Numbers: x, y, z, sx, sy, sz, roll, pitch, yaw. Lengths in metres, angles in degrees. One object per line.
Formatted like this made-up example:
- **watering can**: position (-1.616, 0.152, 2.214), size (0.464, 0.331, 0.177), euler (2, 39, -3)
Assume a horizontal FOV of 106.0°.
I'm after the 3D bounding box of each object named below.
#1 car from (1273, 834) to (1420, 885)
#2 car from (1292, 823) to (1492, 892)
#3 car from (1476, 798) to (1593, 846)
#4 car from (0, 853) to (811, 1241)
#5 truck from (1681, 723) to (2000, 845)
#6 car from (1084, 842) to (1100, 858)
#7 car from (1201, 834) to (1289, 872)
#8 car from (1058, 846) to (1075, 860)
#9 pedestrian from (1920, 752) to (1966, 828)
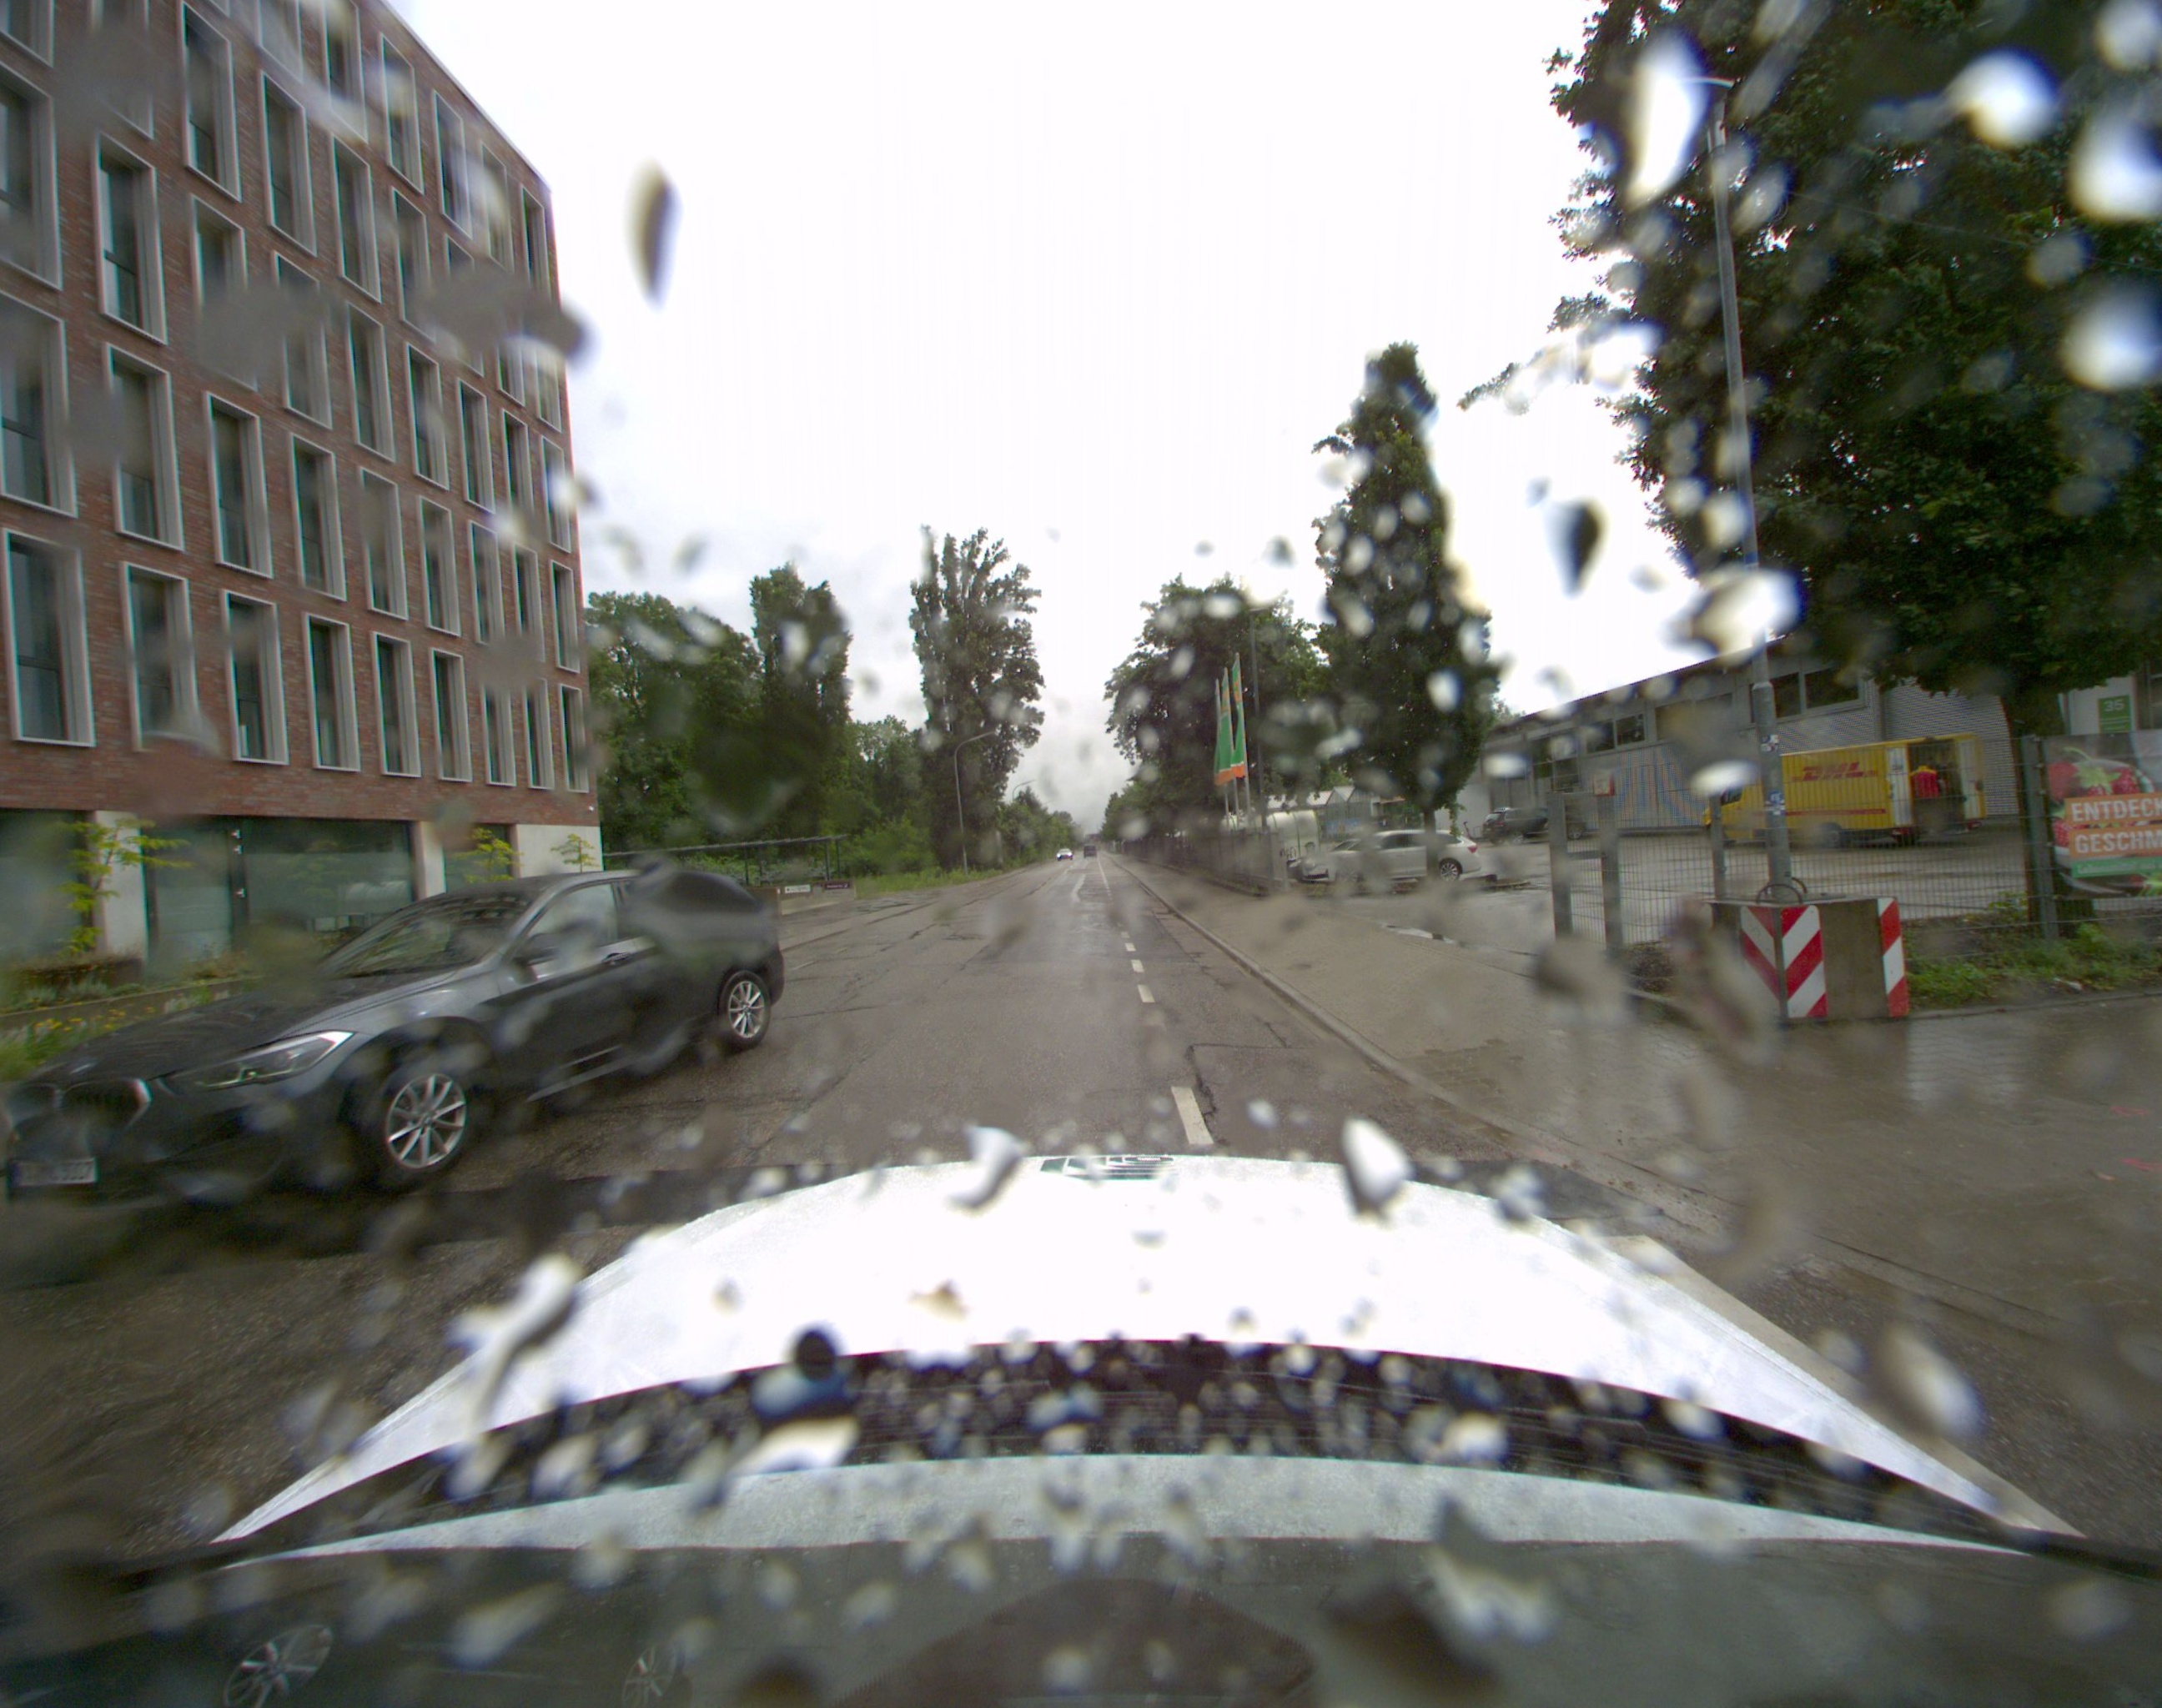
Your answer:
- **car**: position (8.050, 0.169, 24.921), size (3.926, 1.256, 1.618), euler (-4, 0, -1)
- **car**: position (8.407, 0.083, 22.284), size (4.689, 1.462, 1.890), euler (-4, 0, -1)
- **car**: position (21.630, -1.505, 39.014), size (4.345, 1.832, 2.065), euler (-5, 1, 2)
- **car**: position (-3.950, 0.931, 5.760), size (1.747, 1.568, 4.166), euler (-6, 0, 14)
- **truck**: position (20.711, -1.699, 23.001), size (2.291, 2.659, 7.425), euler (-6, 0, 4)
- **car**: position (1.455, -0.528, 111.993), size (1.987, 1.910, 4.200), euler (-5, 0, 0)
- **car**: position (8.661, -0.069, 43.253), size (4.195, 1.600, 1.824), euler (-5, 1, -1)
- **car**: position (-1.843, -0.139, 102.539), size (1.727, 1.450, 4.383), euler (-7, 0, 2)
- **pedestrian**: position (20.216, -1.495, 19.095), size (0.453, 1.718, 0.433), euler (-6, 0, 4)
